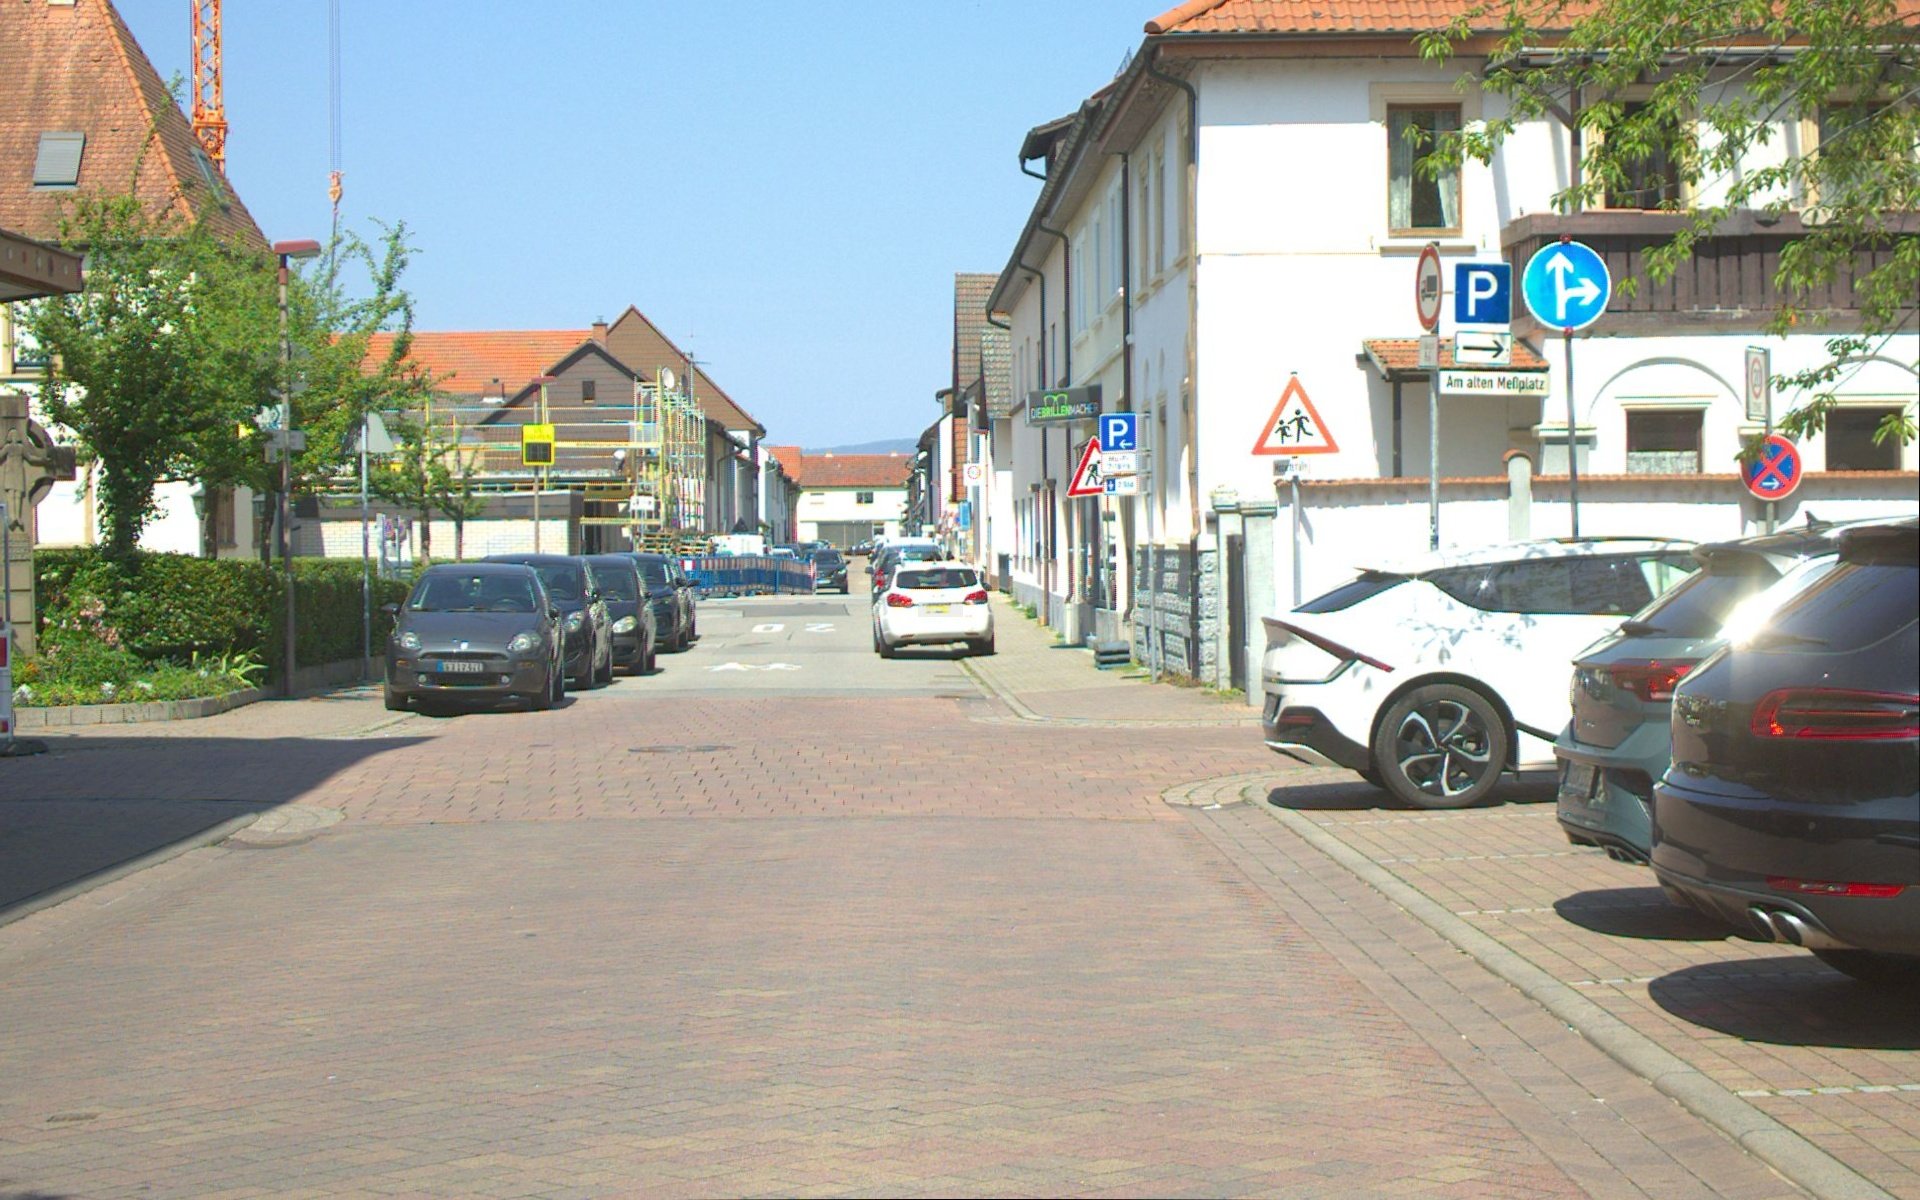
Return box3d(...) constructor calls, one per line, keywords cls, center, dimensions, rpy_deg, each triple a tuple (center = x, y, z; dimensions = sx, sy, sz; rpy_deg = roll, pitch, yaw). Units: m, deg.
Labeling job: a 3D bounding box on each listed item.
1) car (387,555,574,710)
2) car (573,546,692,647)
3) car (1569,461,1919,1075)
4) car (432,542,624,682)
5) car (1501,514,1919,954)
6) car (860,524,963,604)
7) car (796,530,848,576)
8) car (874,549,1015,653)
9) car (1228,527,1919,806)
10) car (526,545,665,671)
box3d(cls="car", center=(-4.968, 0.298, 36.002), dimensions=(1.702, 1.491, 3.858), rpy_deg=(-1, 1, -5))
box3d(cls="car", center=(-5.511, -0.093, 58.275), dimensions=(1.826, 1.625, 4.218), rpy_deg=(-1, 1, -3))
box3d(cls="car", center=(4.245, 0.386, 10.563), dimensions=(4.278, 1.675, 2.001), rpy_deg=(-2, 1, -3))
box3d(cls="car", center=(-5.198, 0.108, 41.822), dimensions=(1.815, 1.599, 4.024), rpy_deg=(-1, 1, 0))
box3d(cls="car", center=(4.263, 0.410, 13.363), dimensions=(3.944, 1.528, 1.824), rpy_deg=(-3, 1, -1))
box3d(cls="car", center=(-1.084, -0.797, 74.510), dimensions=(1.884, 1.550, 3.895), rpy_deg=(-4, 2, -4))
box3d(cls="car", center=(-5.137, -1.753, 127.728), dimensions=(1.881, 1.662, 4.154), rpy_deg=(0, 1, -2))
box3d(cls="car", center=(-0.204, -0.018, 54.419), dimensions=(1.887, 1.536, 4.242), rpy_deg=(-1, 1, 4))
box3d(cls="car", center=(3.940, 0.357, 20.594), dimensions=(4.439, 1.570, 1.789), rpy_deg=(0, 1, -3))
box3d(cls="car", center=(-4.998, 0.077, 47.500), dimensions=(1.637, 1.623, 3.769), rpy_deg=(-1, 1, -2))
